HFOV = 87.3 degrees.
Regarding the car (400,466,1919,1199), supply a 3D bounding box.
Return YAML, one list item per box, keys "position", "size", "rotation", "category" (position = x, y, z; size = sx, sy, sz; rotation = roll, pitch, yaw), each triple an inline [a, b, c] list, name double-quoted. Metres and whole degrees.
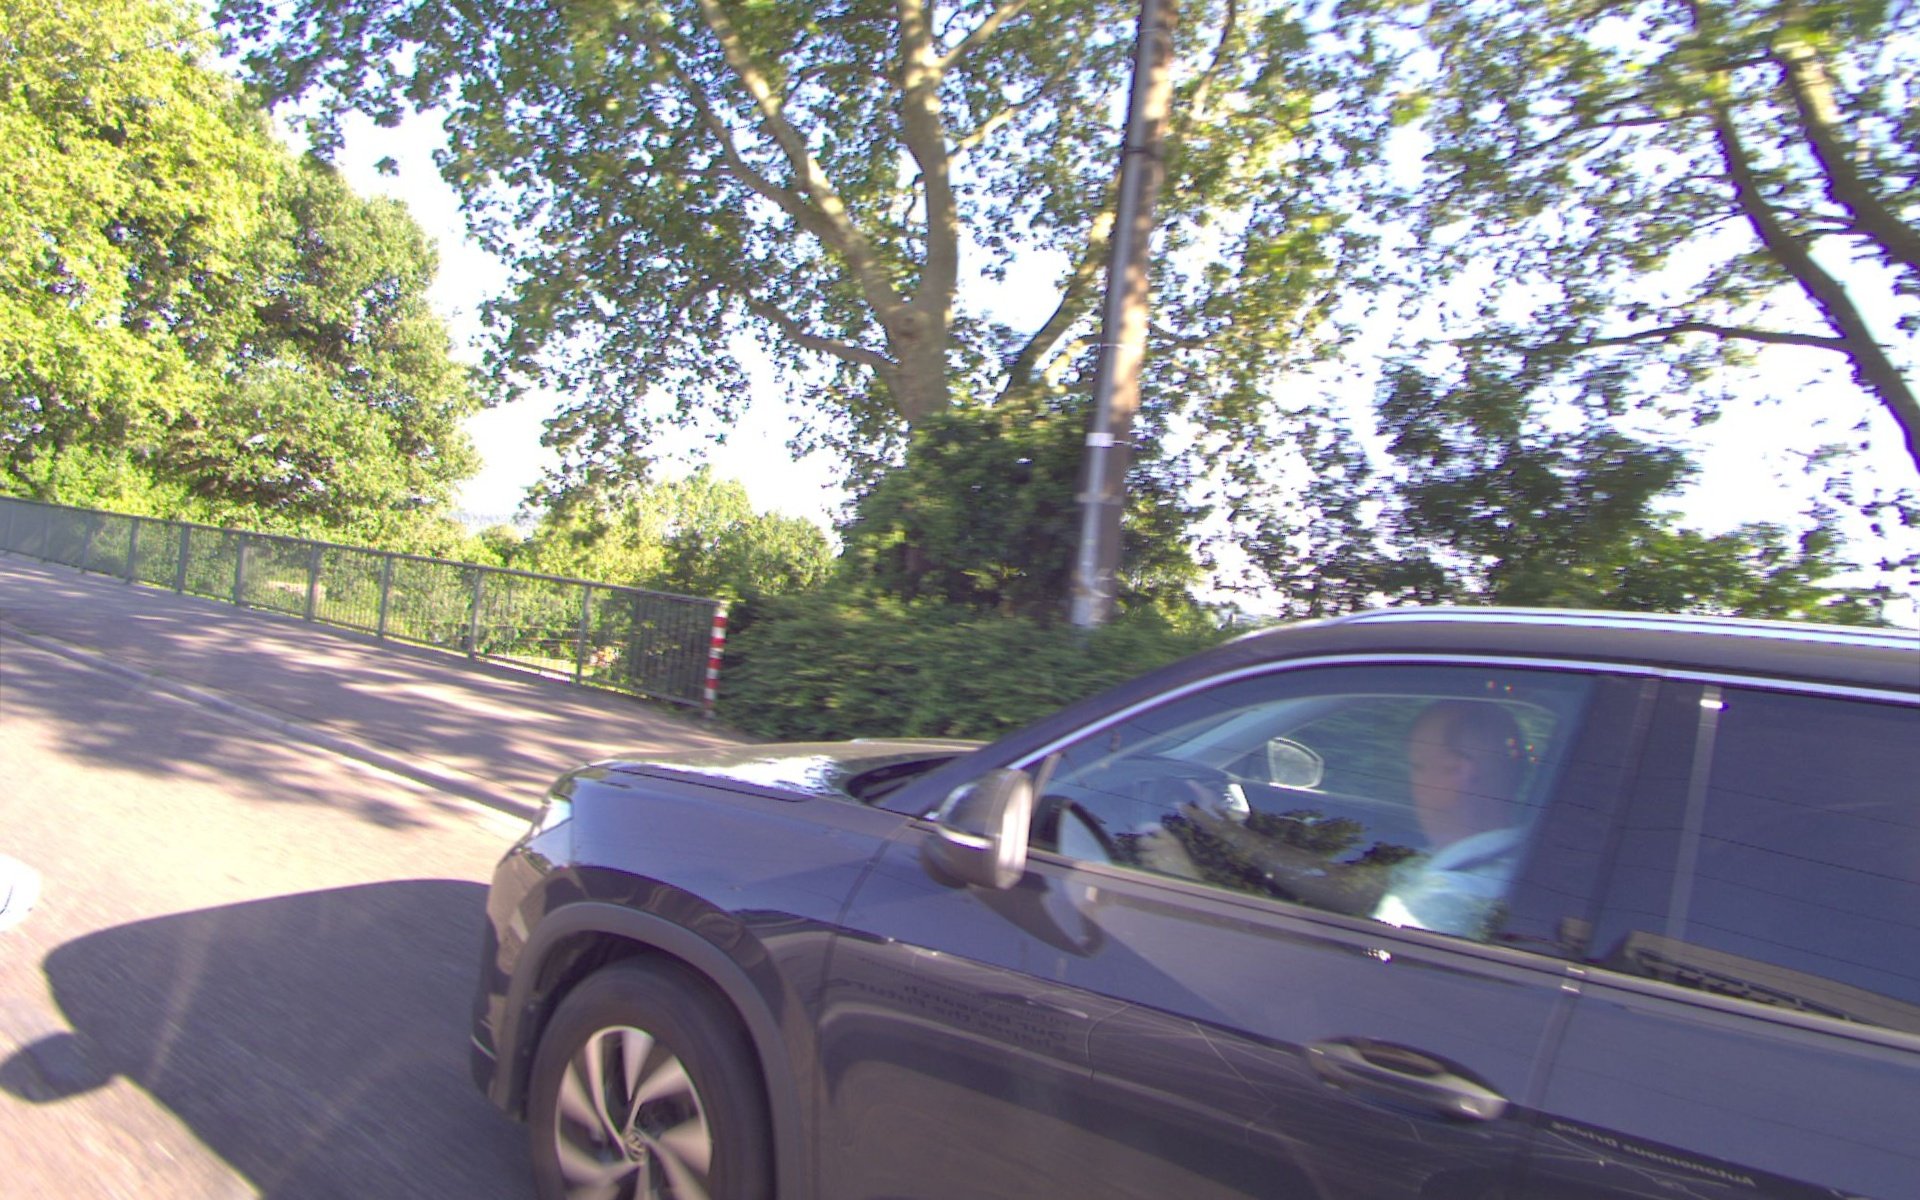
- position: [1.117, 0.818, 2.018]
  size: [4.365, 1.681, 1.847]
  rotation: [7, 0, 31]
  category: "car"
